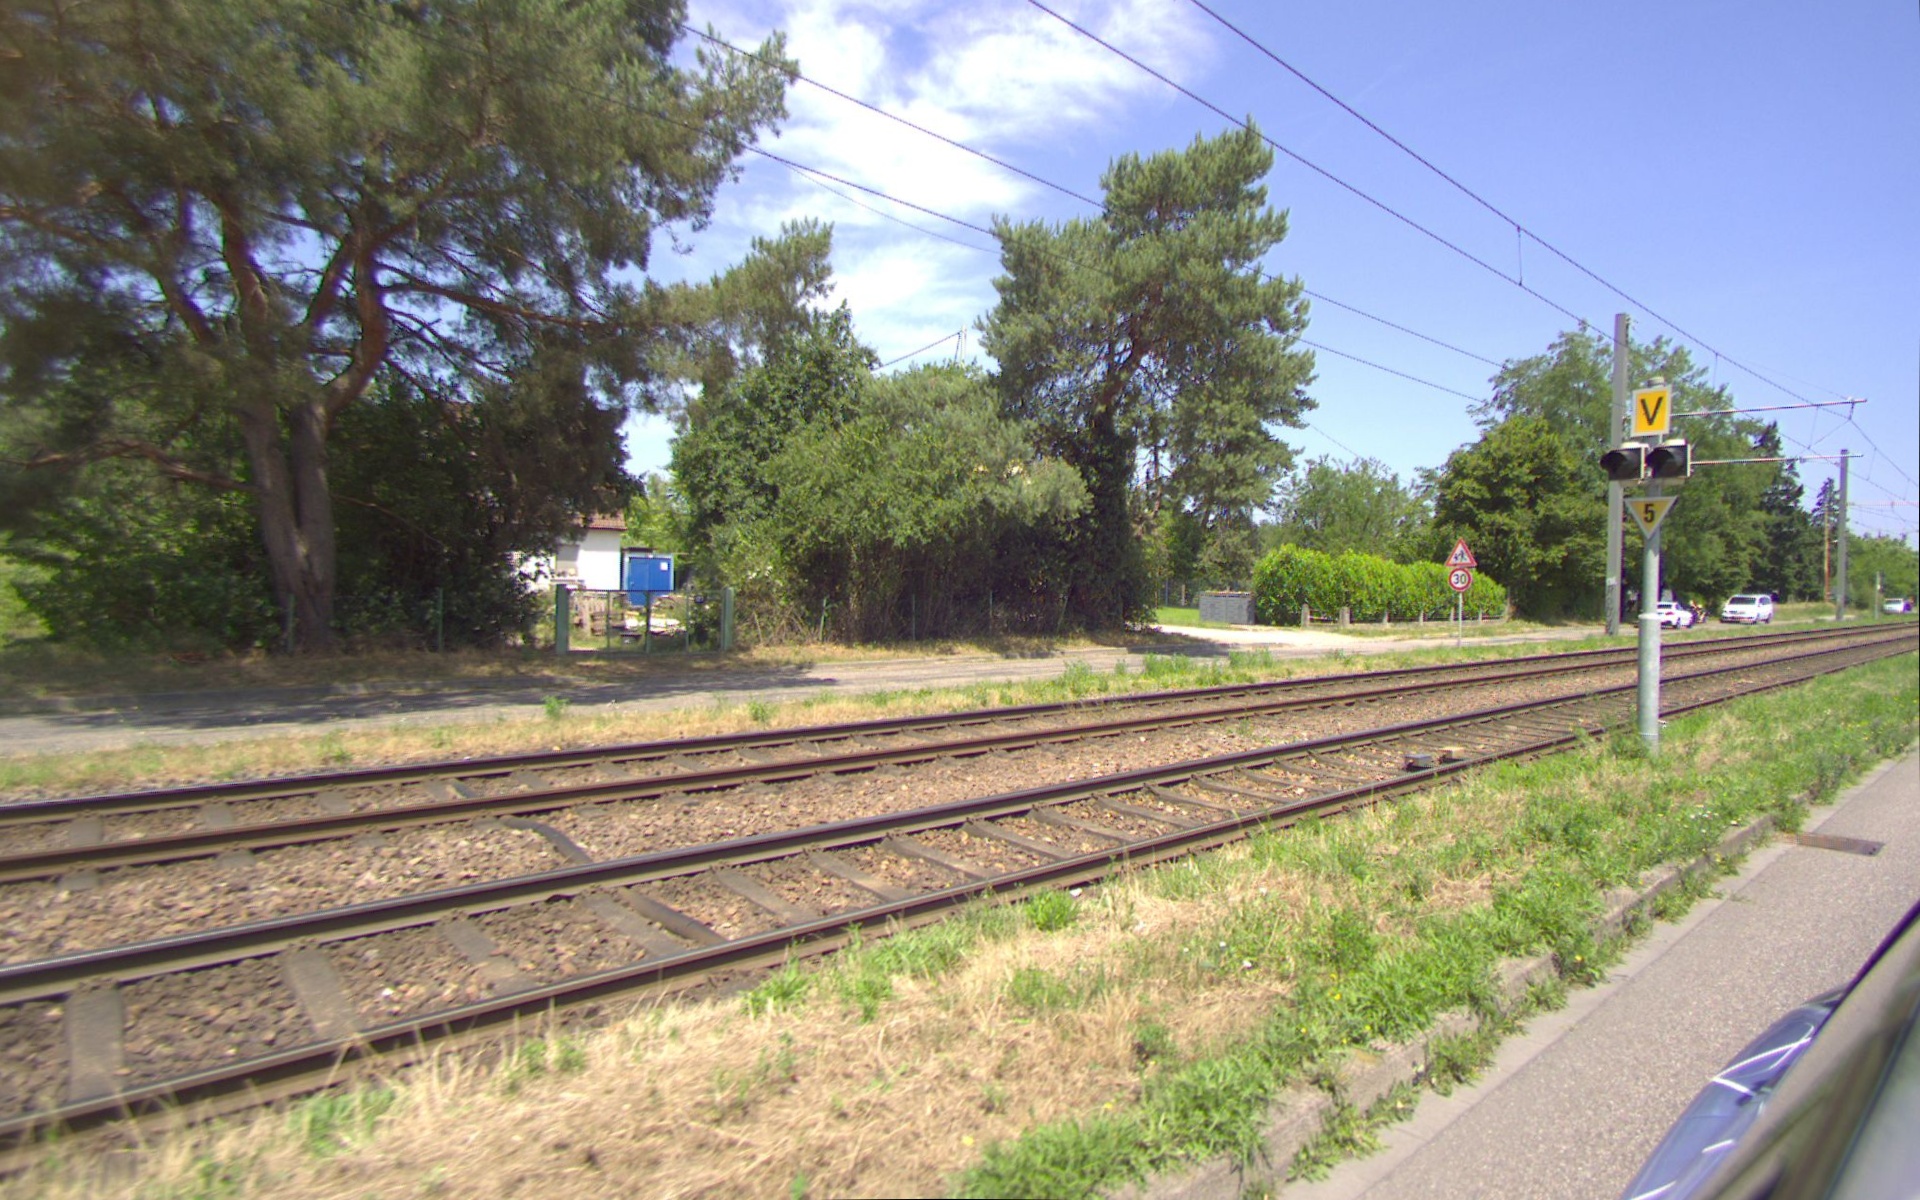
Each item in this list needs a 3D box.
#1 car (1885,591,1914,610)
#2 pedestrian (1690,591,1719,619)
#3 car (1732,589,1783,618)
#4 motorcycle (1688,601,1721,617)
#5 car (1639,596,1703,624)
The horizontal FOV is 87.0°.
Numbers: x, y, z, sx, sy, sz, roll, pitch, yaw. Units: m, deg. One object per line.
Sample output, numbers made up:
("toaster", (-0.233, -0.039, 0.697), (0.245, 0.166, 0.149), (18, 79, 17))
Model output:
("car", (108.154, -0.001, 116.487), (4.507, 2.150, 1.943), (0, 1, -41))
("pedestrian", (44.800, 0.301, 60.907), (0.863, 1.684, 1.172), (0, 0, -36))
("car", (52.757, 0.228, 66.922), (4.507, 1.849, 1.862), (0, 1, -41))
("motorcycle", (44.822, 0.538, 60.908), (2.738, 0.919, 0.859), (0, 1, -37))
("car", (38.163, 0.518, 54.261), (3.930, 1.401, 1.921), (0, 1, -41))
